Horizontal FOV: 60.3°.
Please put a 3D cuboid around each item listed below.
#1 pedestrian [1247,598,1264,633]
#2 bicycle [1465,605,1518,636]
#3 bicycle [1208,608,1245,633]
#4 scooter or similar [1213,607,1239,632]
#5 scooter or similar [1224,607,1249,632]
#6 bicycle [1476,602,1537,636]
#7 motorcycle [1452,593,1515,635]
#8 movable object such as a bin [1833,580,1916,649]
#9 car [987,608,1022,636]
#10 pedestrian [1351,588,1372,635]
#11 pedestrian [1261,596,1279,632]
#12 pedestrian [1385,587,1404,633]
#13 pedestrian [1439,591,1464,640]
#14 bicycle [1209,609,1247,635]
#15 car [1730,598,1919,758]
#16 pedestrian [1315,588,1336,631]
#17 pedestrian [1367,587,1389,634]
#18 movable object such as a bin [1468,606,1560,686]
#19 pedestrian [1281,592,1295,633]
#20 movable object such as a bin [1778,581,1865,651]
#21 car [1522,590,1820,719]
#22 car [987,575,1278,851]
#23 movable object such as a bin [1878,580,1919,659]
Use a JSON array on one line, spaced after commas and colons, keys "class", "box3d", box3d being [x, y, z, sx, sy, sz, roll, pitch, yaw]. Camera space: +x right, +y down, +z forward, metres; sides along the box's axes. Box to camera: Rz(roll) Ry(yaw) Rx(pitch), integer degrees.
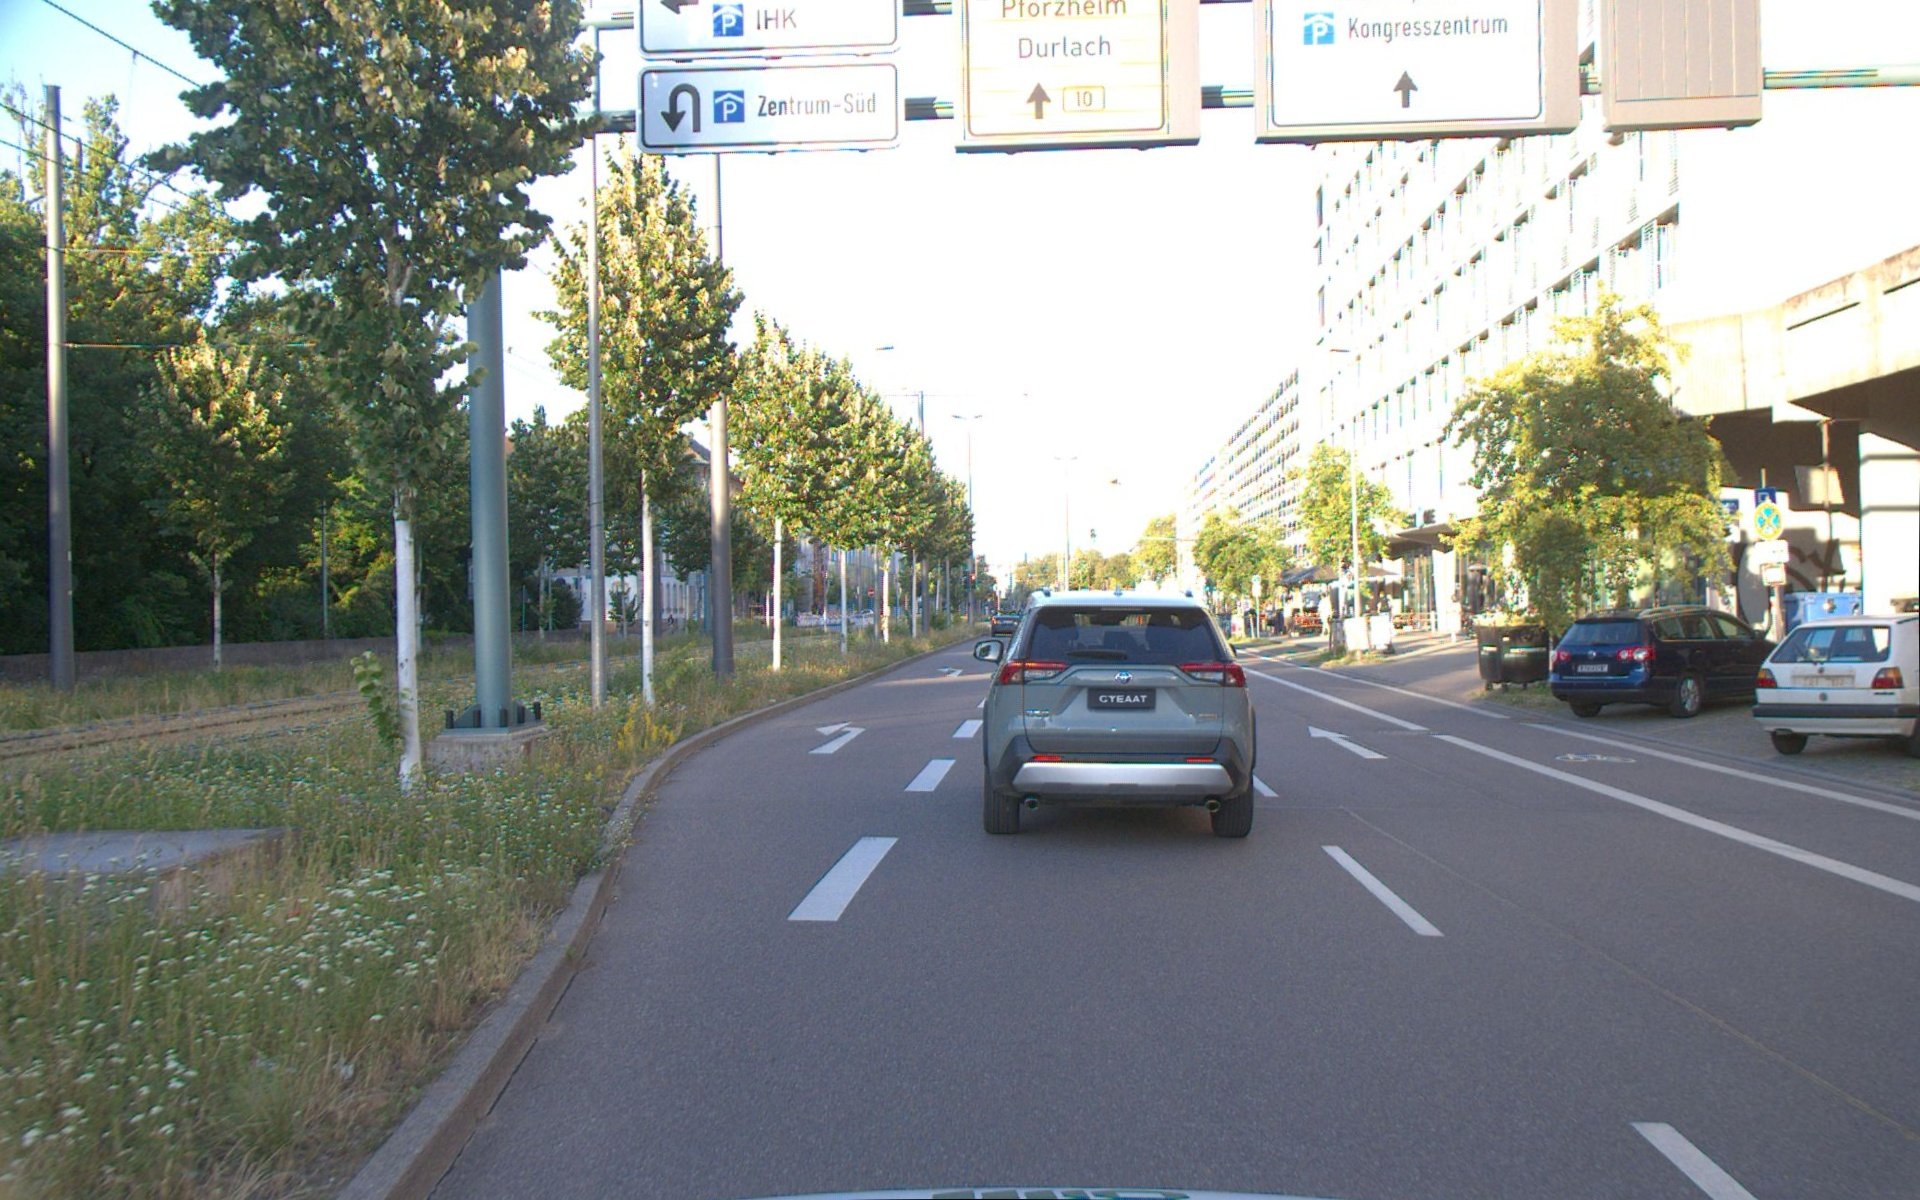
[{"class": "pedestrian", "box3d": [14.692, 0.764, 82.242, 0.640, 1.732, 0.689, -3, 0, 3]}, {"class": "bicycle", "box3d": [18.732, 0.716, 58.294, 1.665, 1.003, 0.551, -3, 0, 0]}, {"class": "bicycle", "box3d": [13.759, 1.060, 85.484, 1.757, 1.214, 0.567, -3, 0, -2]}, {"class": "scooter or similar", "box3d": [13.641, 0.993, 84.956, 1.185, 1.222, 0.480, -3, 0, -2]}, {"class": "scooter or similar", "box3d": [13.766, 0.970, 82.482, 1.131, 1.212, 0.510, -3, -2, 5]}, {"class": "bicycle", "box3d": [18.554, 0.650, 56.200, 1.846, 1.027, 0.565, -3, -1, 1]}, {"class": "motorcycle", "box3d": [18.981, 0.504, 59.946, 2.074, 1.410, 0.670, -3, 0, -11]}, {"class": "movable object such as a bin", "box3d": [18.888, 0.295, 34.186, 1.051, 1.353, 1.202, -2, 0, 2]}, {"class": "car", "box3d": [2.311, 1.105, 85.440, 1.639, 1.376, 4.002, 0, 0, 3]}, {"class": "pedestrian", "box3d": [16.577, 0.463, 68.272, 0.728, 1.881, 0.941, -4, -1, 12]}, {"class": "pedestrian", "box3d": [15.426, 0.703, 82.254, 0.671, 1.765, 0.761, -3, 0, 3]}, {"class": "pedestrian", "box3d": [17.878, 0.392, 68.061, 0.605, 1.843, 0.777, -4, -1, 12]}, {"class": "pedestrian", "box3d": [16.776, 0.519, 56.475, 0.564, 1.647, 0.643, -3, 0, 0]}, {"class": "bicycle", "box3d": [13.566, 1.124, 83.670, 1.808, 1.202, 0.608, -3, 0, 3]}, {"class": "car", "box3d": [10.237, 0.751, 17.847, 3.945, 1.441, 1.730, -3, -1, -35]}, {"class": "pedestrian", "box3d": [16.527, 0.432, 74.767, 0.807, 1.921, 0.867, -3, -2, 11]}, {"class": "pedestrian", "box3d": [17.236, 0.432, 68.216, 0.740, 1.856, 0.941, -3, -1, 12]}, {"class": "movable object such as a bin", "box3d": [9.845, 0.803, 29.436, 1.063, 1.324, 1.360, -3, 0, -3]}, {"class": "pedestrian", "box3d": [15.028, 0.570, 75.792, 0.564, 1.817, 0.829, -3, -2, 11]}, {"class": "movable object such as a bin", "box3d": [17.727, 0.328, 34.054, 1.082, 1.353, 1.283, -3, 0, 2]}, {"class": "car", "box3d": [10.490, 0.763, 24.278, 4.619, 1.534, 1.914, -3, -1, -37]}, {"class": "car", "box3d": [1.177, 0.695, 12.380, 1.795, 1.702, 4.284, 0, 0, 3]}, {"class": "movable object such as a bin", "box3d": [17.467, 0.324, 29.755, 1.157, 1.346, 1.267, -4, 0, 2]}]
